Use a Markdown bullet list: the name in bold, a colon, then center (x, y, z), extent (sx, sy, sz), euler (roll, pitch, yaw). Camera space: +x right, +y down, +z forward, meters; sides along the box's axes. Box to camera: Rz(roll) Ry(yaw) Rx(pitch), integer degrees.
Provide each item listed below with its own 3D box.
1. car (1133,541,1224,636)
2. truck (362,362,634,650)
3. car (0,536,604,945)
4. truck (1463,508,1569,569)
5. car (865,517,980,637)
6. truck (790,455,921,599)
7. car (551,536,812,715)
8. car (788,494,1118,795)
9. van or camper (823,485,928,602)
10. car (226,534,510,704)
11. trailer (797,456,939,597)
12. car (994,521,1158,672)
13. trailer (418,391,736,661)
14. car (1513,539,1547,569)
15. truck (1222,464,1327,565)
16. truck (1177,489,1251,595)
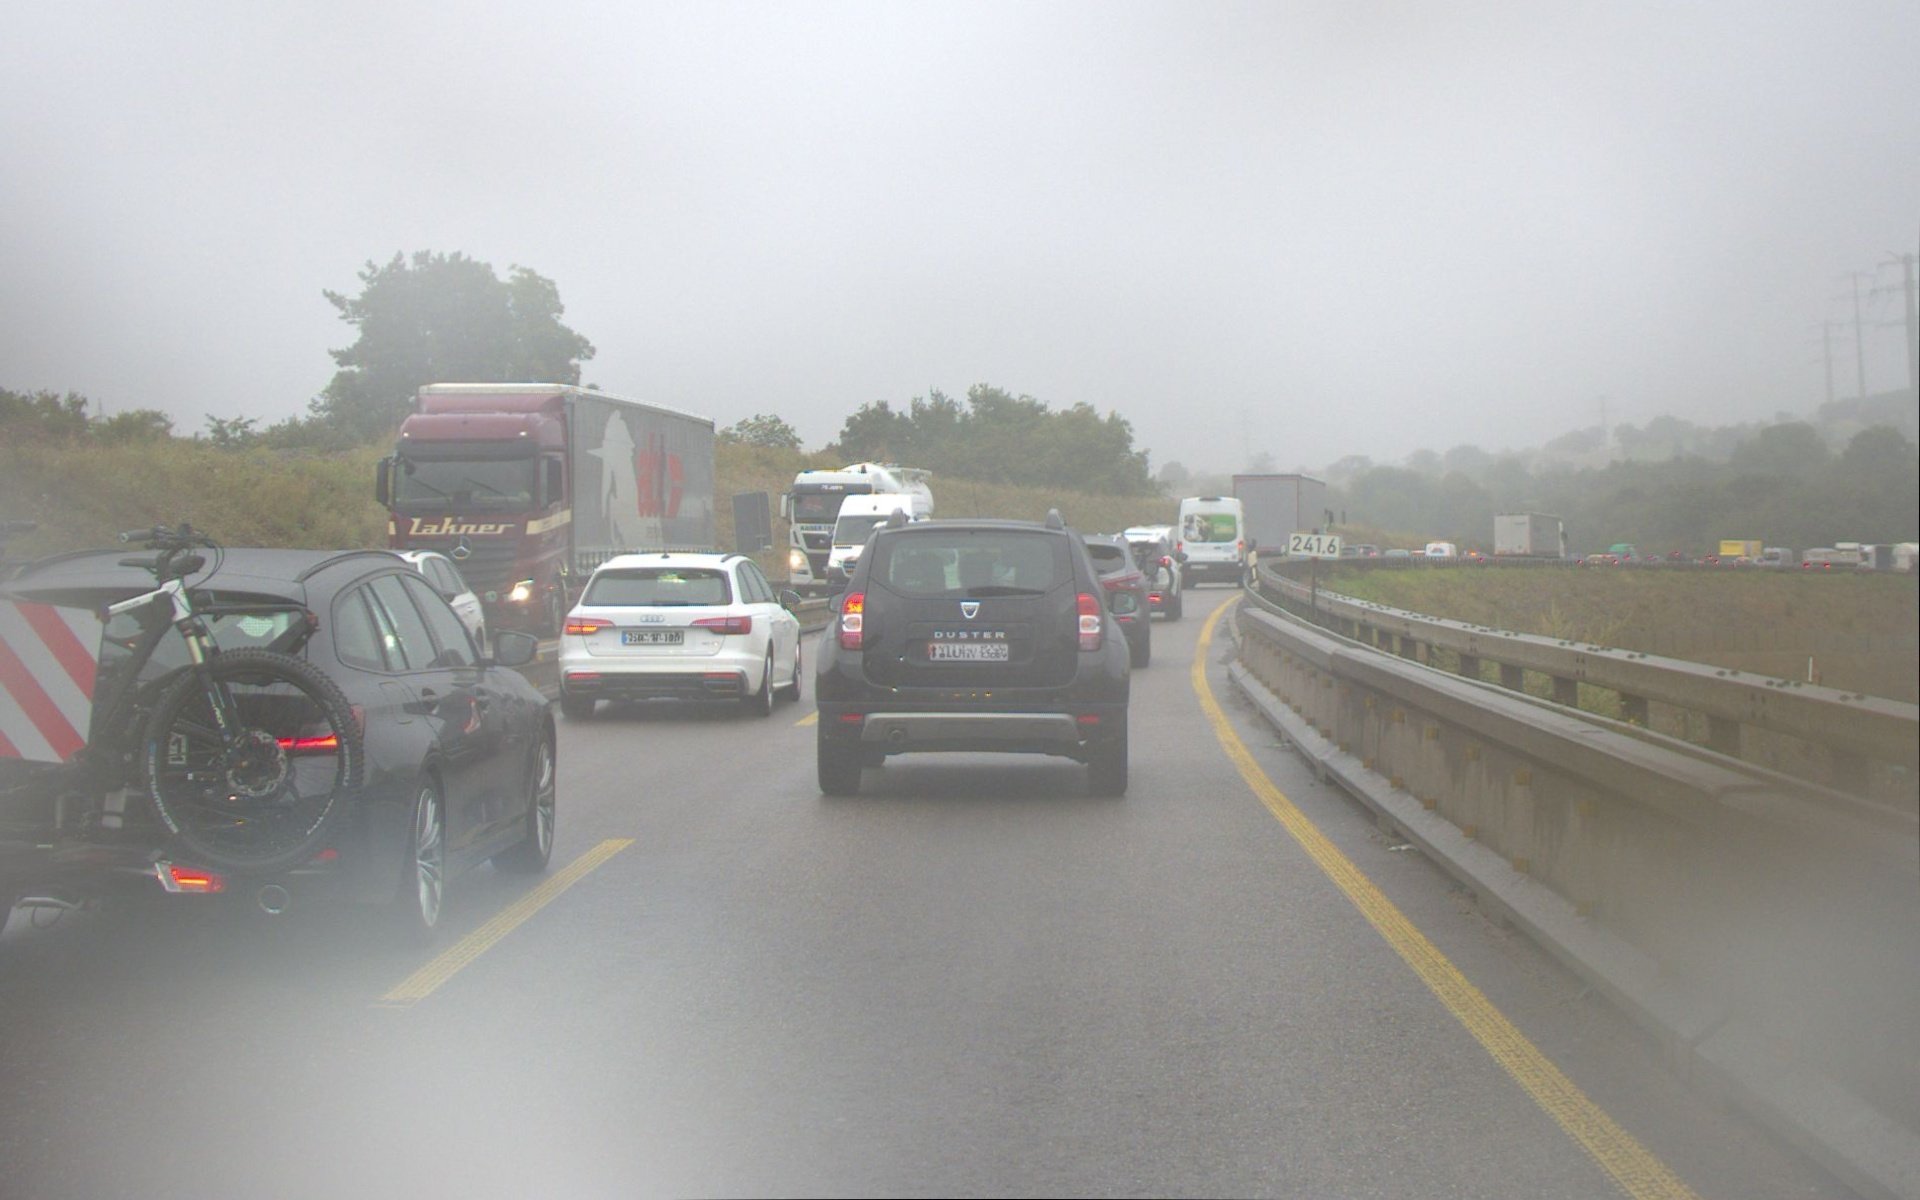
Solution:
- **car**: center (3.951, -0.226, 61.828), extent (1.531, 1.635, 4.012), euler (1, 1, 5)
- **truck**: center (-7.519, -1.540, 56.969), extent (2.980, 4.394, 6.931), euler (-2, 1, 4)
- **car**: center (-2.685, 0.492, 14.310), extent (1.829, 1.471, 3.776), euler (0, 1, 3)
- **truck**: center (39.442, -4.349, 243.142), extent (4.722, 4.135, 15.668), euler (1, 1, 19)
- **car**: center (-0.587, -0.394, 56.355), extent (1.660, 1.873, 4.020), euler (1, 1, 2)
- **truck**: center (-2.923, -2.052, 97.996), extent (3.231, 3.942, 5.881), euler (-1, 1, 3)
- **car**: center (-2.392, 0.170, 30.576), extent (1.867, 1.455, 4.548), euler (1, 1, 1)
- **car**: center (-0.101, 0.224, 20.764), extent (1.804, 1.640, 3.777), euler (0, 1, -2)
- **van or camper**: center (-1.940, -1.330, 80.490), extent (2.278, 2.605, 5.828), euler (1, 1, 0)
- **car**: center (-5.572, 0.130, 32.919), extent (1.744, 1.497, 4.634), euler (1, 1, 2)
- **trailer**: center (-2.647, -2.154, 102.976), extent (3.256, 3.950, 11.536), euler (-1, 1, 3)
- **car**: center (1.400, -0.073, 41.345), extent (1.868, 1.702, 4.000), euler (0, 1, 2)
- **trailer**: center (-6.906, -1.430, 65.172), extent (2.995, 4.406, 15.701), euler (-2, 1, 4)
- **car**: center (37.230, -3.026, 224.478), extent (1.776, 1.909, 3.997), euler (1, 1, 15)
- **truck**: center (12.132, -3.250, 131.980), extent (3.202, 3.748, 8.505), euler (1, 1, 11)
- **truck**: center (7.887, -1.797, 106.172), extent (2.149, 3.155, 6.458), euler (1, 1, 5)
